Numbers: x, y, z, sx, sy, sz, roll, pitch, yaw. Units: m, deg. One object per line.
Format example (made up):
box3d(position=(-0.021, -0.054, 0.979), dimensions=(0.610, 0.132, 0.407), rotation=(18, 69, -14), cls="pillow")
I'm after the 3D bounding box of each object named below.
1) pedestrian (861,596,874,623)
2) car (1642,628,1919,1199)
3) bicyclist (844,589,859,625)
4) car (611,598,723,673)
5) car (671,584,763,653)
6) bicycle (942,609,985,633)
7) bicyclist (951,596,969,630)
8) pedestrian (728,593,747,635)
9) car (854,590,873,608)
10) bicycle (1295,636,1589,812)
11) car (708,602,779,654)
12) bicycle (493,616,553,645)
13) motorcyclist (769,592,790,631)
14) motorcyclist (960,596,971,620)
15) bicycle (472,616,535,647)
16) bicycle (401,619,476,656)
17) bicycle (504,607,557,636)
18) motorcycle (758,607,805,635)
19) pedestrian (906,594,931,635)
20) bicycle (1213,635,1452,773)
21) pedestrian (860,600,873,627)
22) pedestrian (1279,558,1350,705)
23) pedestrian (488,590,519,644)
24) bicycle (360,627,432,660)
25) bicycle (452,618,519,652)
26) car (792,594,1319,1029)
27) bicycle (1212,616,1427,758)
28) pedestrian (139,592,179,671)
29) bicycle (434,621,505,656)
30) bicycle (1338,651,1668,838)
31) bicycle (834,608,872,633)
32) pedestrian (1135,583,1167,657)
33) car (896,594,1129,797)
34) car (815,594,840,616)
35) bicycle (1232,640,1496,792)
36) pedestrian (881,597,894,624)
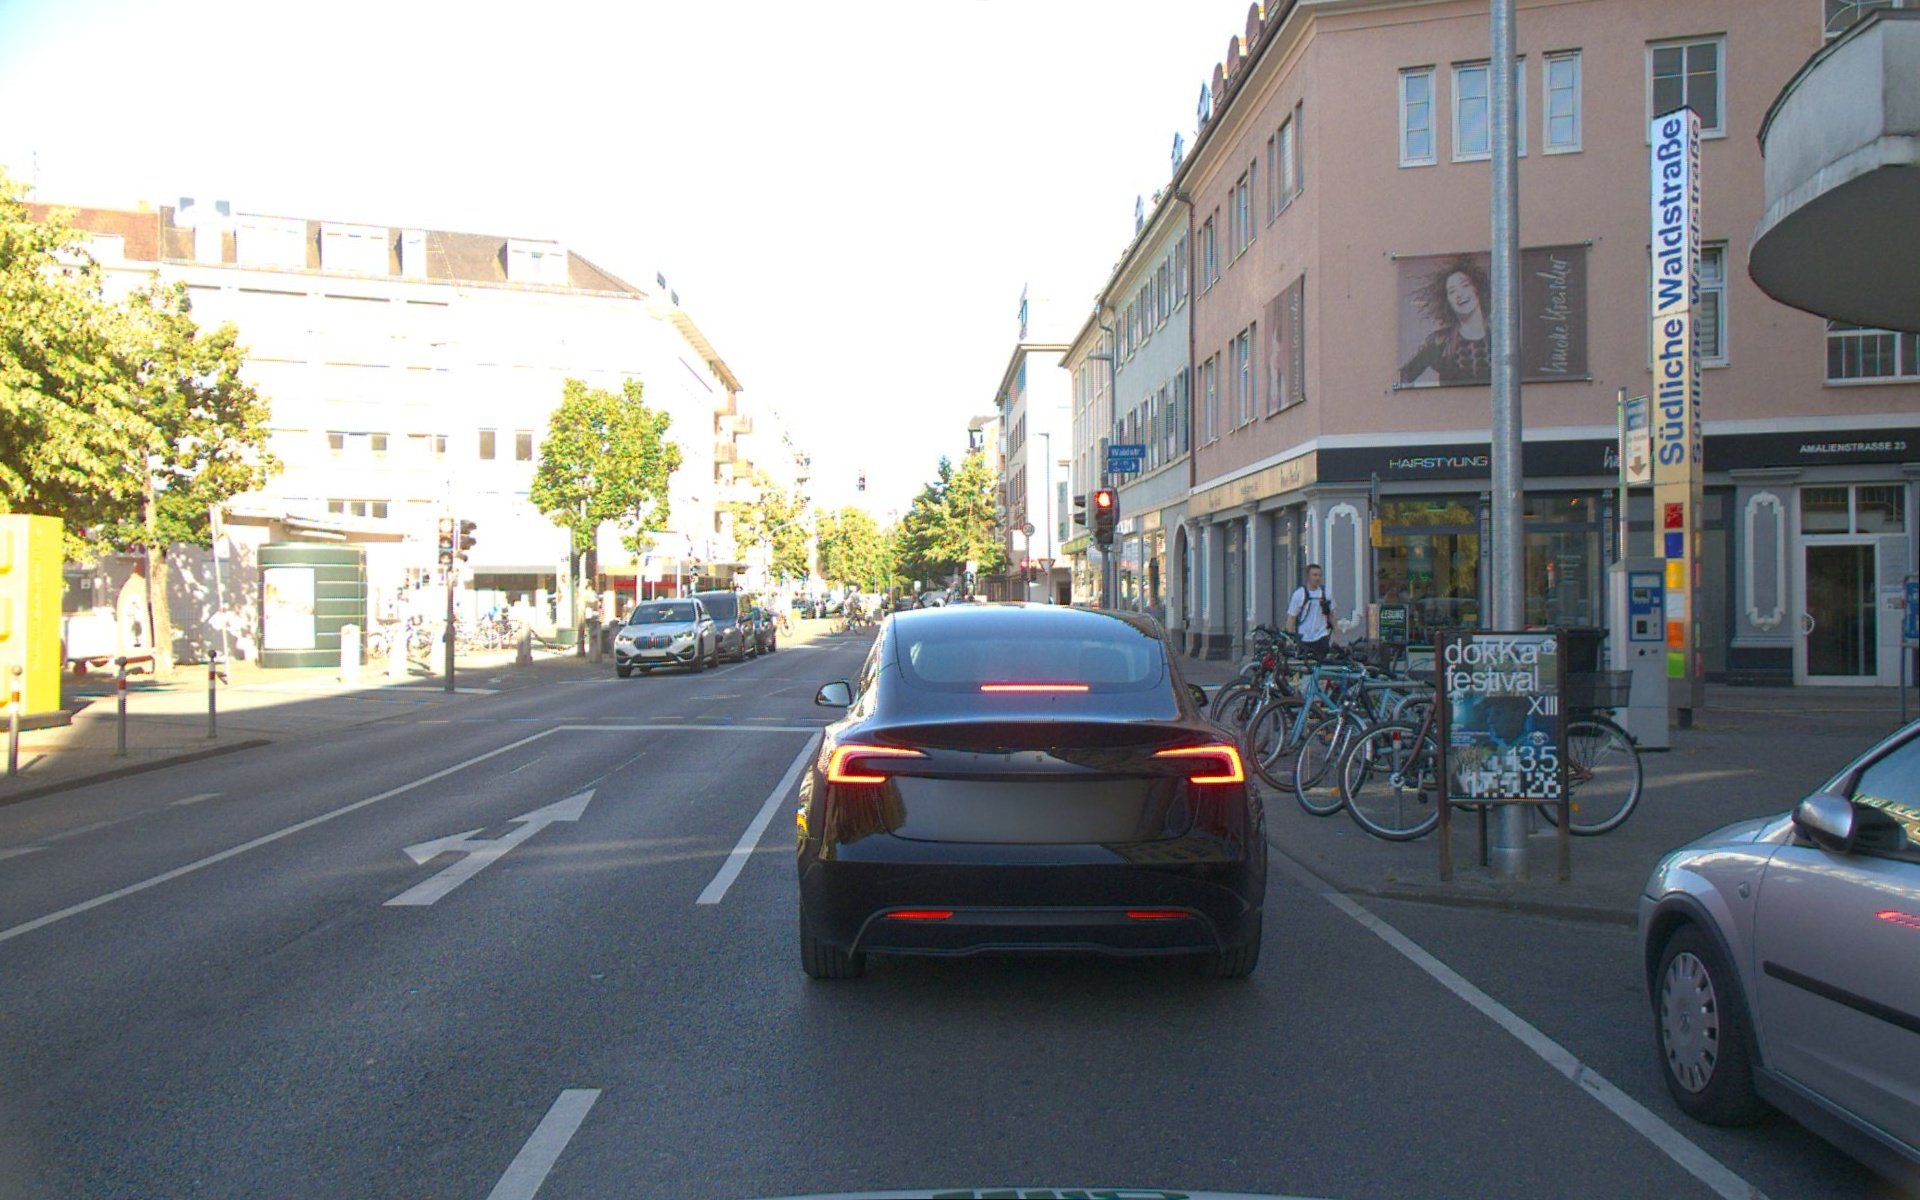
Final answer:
box3d(position=(-5.121, 0.523, 91.787), dimensions=(0.516, 1.447, 0.474), rotation=(1, -1, -31), cls="pedestrian")
box3d(position=(2.915, 0.791, 3.501), dimensions=(1.515, 1.415, 3.476), rotation=(0, 0, 0), cls="car")
box3d(position=(-4.598, 0.287, 70.081), dimensions=(0.516, 1.530, 0.472), rotation=(1, -1, -25), cls="bicyclist")
box3d(position=(-6.319, 0.743, 36.069), dimensions=(1.752, 1.485, 3.756), rotation=(-2, 0, -1), cls="car")
box3d(position=(-6.167, 0.443, 42.412), dimensions=(1.751, 1.675, 4.401), rotation=(0, 0, -1), cls="car")
box3d(position=(0.141, 0.888, 69.965), dimensions=(1.756, 1.024, 0.469), rotation=(1, -1, -17), cls="bicycle")
box3d(position=(0.011, 0.533, 69.927), dimensions=(0.659, 1.420, 0.460), rotation=(1, -1, -17), cls="bicyclist")
box3d(position=(-8.502, 0.529, 63.244), dimensions=(0.612, 1.565, 0.511), rotation=(1, -1, -19), cls="pedestrian")
box3d(position=(-10.868, -0.098, 187.012), dimensions=(1.953, 2.049, 3.999), rotation=(0, 0, -1), cls="car")
box3d(position=(3.239, 0.830, 11.193), dimensions=(1.834, 1.106, 0.414), rotation=(-2, -1, 3), cls="bicycle")
box3d(position=(-6.467, 0.821, 49.729), dimensions=(1.680, 1.471, 3.844), rotation=(1, 0, -1), cls="car")
box3d(position=(-14.371, 1.000, 54.414), dimensions=(1.826, 0.950, 0.606), rotation=(0, 0, -2), cls="bicycle")
box3d(position=(-7.345, 0.465, 67.294), dimensions=(0.714, 1.555, 0.509), rotation=(0, 0, -37), cls="motorcyclist")
box3d(position=(0.284, 0.441, 88.624), dimensions=(0.486, 1.275, 0.350), rotation=(1, -1, -38), cls="motorcyclist")
box3d(position=(-14.336, 0.991, 51.966), dimensions=(1.826, 0.950, 0.606), rotation=(0, 0, -2), cls="bicycle")
box3d(position=(-14.167, 1.017, 44.989), dimensions=(1.826, 0.950, 0.606), rotation=(1, 0, -2), cls="bicycle")
box3d(position=(-20.184, 1.024, 77.709), dimensions=(2.334, 1.318, 0.509), rotation=(1, -1, -27), cls="bicycle")
box3d(position=(-7.264, 0.838, 67.357), dimensions=(1.912, 1.130, 0.512), rotation=(0, 0, -38), cls="motorcycle")
box3d(position=(-1.702, 0.574, 67.348), dimensions=(0.742, 1.660, 0.951), rotation=(1, -1, -18), cls="pedestrian")
box3d(position=(3.055, 0.852, 13.678), dimensions=(1.833, 1.056, 0.548), rotation=(-2, -1, 5), cls="bicycle")
box3d(position=(-5.238, 0.754, 92.575), dimensions=(0.516, 1.447, 0.474), rotation=(1, -1, -31), cls="pedestrian")
box3d(position=(4.434, 0.388, 20.722), dimensions=(0.735, 1.796, 0.837), rotation=(1, -1, 3), cls="pedestrian")
box3d(position=(-17.662, 0.666, 63.949), dimensions=(1.041, 2.049, 1.049), rotation=(1, -1, -20), cls="pedestrian")
box3d(position=(-14.455, 1.110, 42.407), dimensions=(1.612, 0.806, 0.606), rotation=(1, 0, -5), cls="bicycle")
box3d(position=(-14.219, 1.047, 49.617), dimensions=(1.826, 0.950, 0.606), rotation=(1, 0, -2), cls="bicycle")
box3d(position=(0.301, 0.724, 7.607), dimensions=(1.785, 1.467, 3.999), rotation=(0, 0, -1), cls="car")
box3d(position=(3.198, 0.769, 14.800), dimensions=(1.789, 1.189, 0.506), rotation=(-2, -1, 5), cls="bicycle")
box3d(position=(-17.970, 0.694, 37.131), dimensions=(0.465, 1.746, 0.711), rotation=(1, -1, 6), cls="pedestrian")
box3d(position=(-13.982, 1.086, 47.147), dimensions=(1.826, 0.950, 0.606), rotation=(1, 0, -2), cls="bicycle")
box3d(position=(3.263, 0.867, 10.019), dimensions=(1.833, 1.056, 0.353), rotation=(-2, -1, 6), cls="bicycle")
box3d(position=(-4.546, 0.868, 70.161), dimensions=(1.536, 1.030, 0.480), rotation=(1, -1, -25), cls="bicycle")
box3d(position=(4.614, 0.485, 40.027), dimensions=(0.692, 1.773, 0.540), rotation=(0, 0, -1), cls="pedestrian")
box3d(position=(0.308, 0.688, 13.843), dimensions=(1.683, 1.450, 3.755), rotation=(0, 0, -2), cls="car")
box3d(position=(-9.520, 0.353, 118.380), dimensions=(1.673, 1.579, 3.692), rotation=(0, 0, -6), cls="car")
box3d(position=(3.020, 0.866, 12.460), dimensions=(1.834, 1.056, 0.533), rotation=(-2, -1, 3), cls="bicycle")
box3d(position=(-4.043, 0.582, 92.334), dimensions=(0.516, 1.447, 0.474), rotation=(1, -1, -31), cls="pedestrian")
